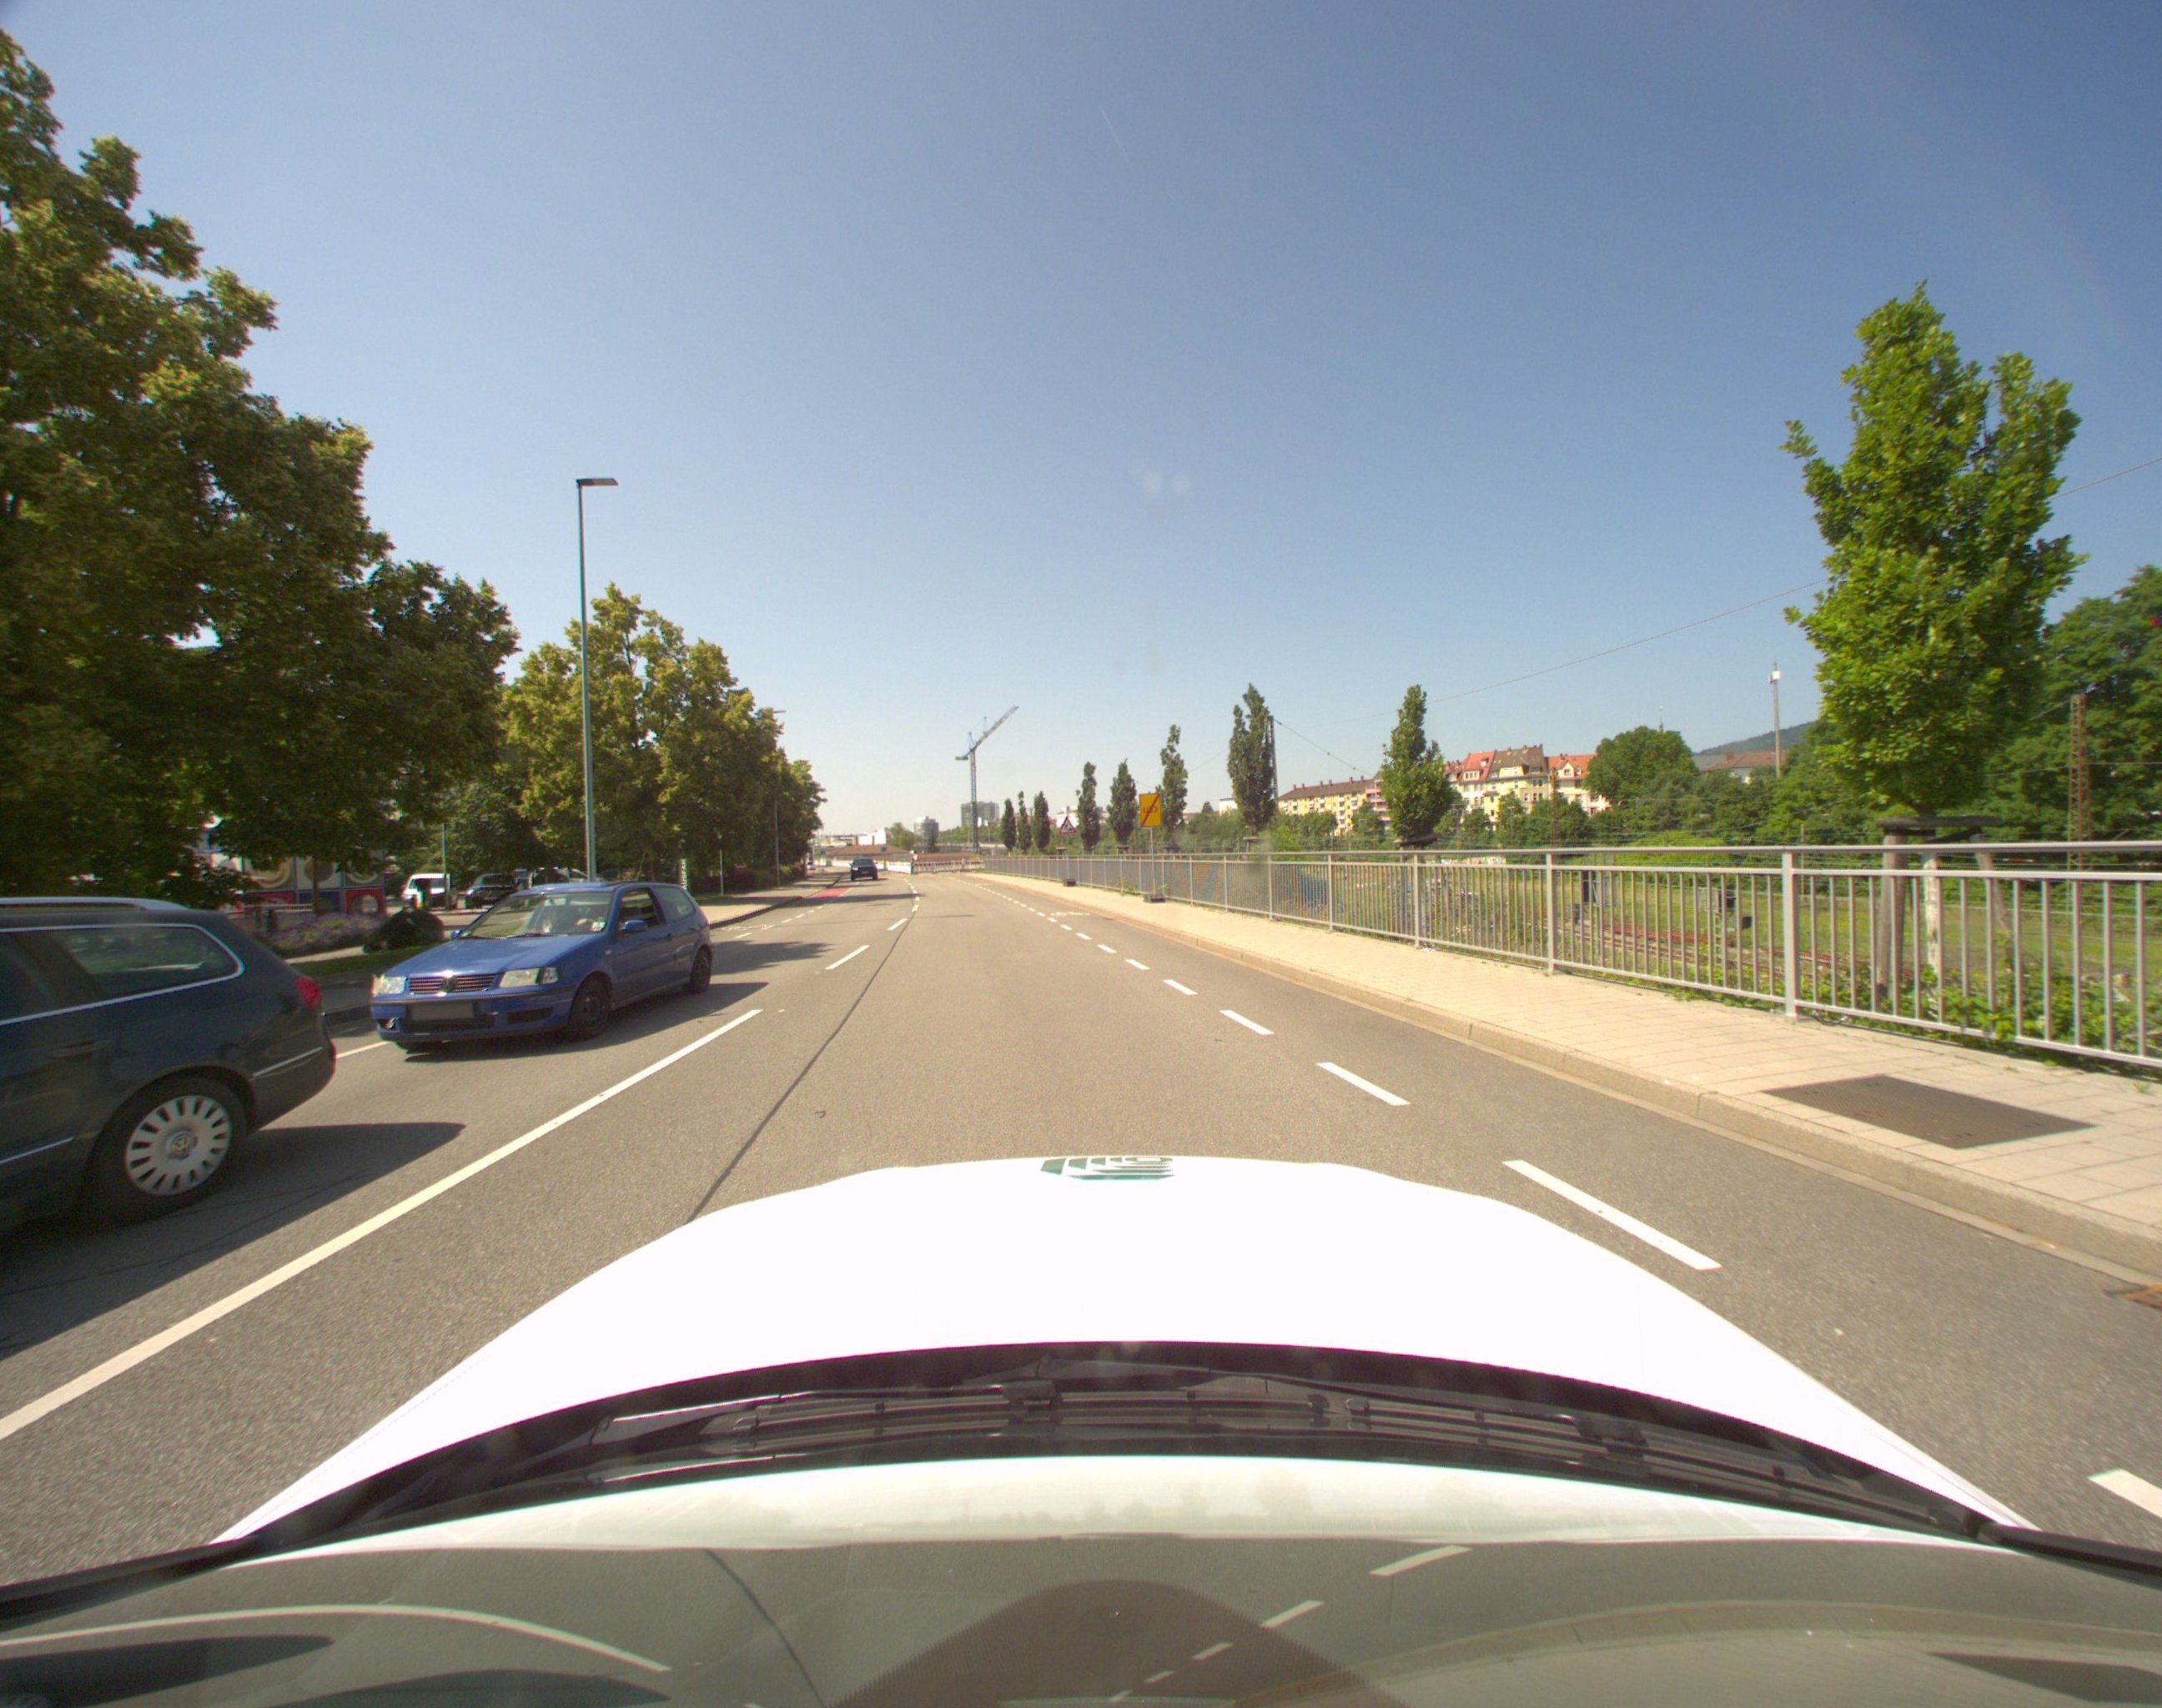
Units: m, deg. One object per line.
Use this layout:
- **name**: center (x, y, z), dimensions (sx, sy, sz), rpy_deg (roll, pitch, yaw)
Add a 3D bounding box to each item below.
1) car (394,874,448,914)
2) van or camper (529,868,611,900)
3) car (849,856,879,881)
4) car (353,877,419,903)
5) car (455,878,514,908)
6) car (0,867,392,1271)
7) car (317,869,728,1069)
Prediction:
- **car**: center (-31.687, 1.876, 39.177), dimensions (1.726, 1.735, 4.201), rpy_deg (-3, 1, -36)
- **van or camper**: center (-32.416, 1.866, 51.785), dimensions (4.299, 1.740, 1.980), rpy_deg (-3, 1, -32)
- **car**: center (-16.603, 1.075, 62.149), dimensions (1.955, 1.695, 4.586), rpy_deg (-2, 1, -17)
- **car**: center (-45.077, 2.339, 52.832), dimensions (3.397, 1.526, 1.508), rpy_deg (-2, 0, 15)
- **car**: center (-28.420, 1.828, 38.736), dimensions (3.950, 1.285, 1.618), rpy_deg (-2, 1, 45)
- **car**: center (-5.022, 0.882, 2.515), dimensions (1.775, 1.496, 4.720), rpy_deg (-2, 1, -1)
- **car**: center (-5.219, 0.930, 8.370), dimensions (1.653, 1.381, 3.993), rpy_deg (-2, 1, -5)
